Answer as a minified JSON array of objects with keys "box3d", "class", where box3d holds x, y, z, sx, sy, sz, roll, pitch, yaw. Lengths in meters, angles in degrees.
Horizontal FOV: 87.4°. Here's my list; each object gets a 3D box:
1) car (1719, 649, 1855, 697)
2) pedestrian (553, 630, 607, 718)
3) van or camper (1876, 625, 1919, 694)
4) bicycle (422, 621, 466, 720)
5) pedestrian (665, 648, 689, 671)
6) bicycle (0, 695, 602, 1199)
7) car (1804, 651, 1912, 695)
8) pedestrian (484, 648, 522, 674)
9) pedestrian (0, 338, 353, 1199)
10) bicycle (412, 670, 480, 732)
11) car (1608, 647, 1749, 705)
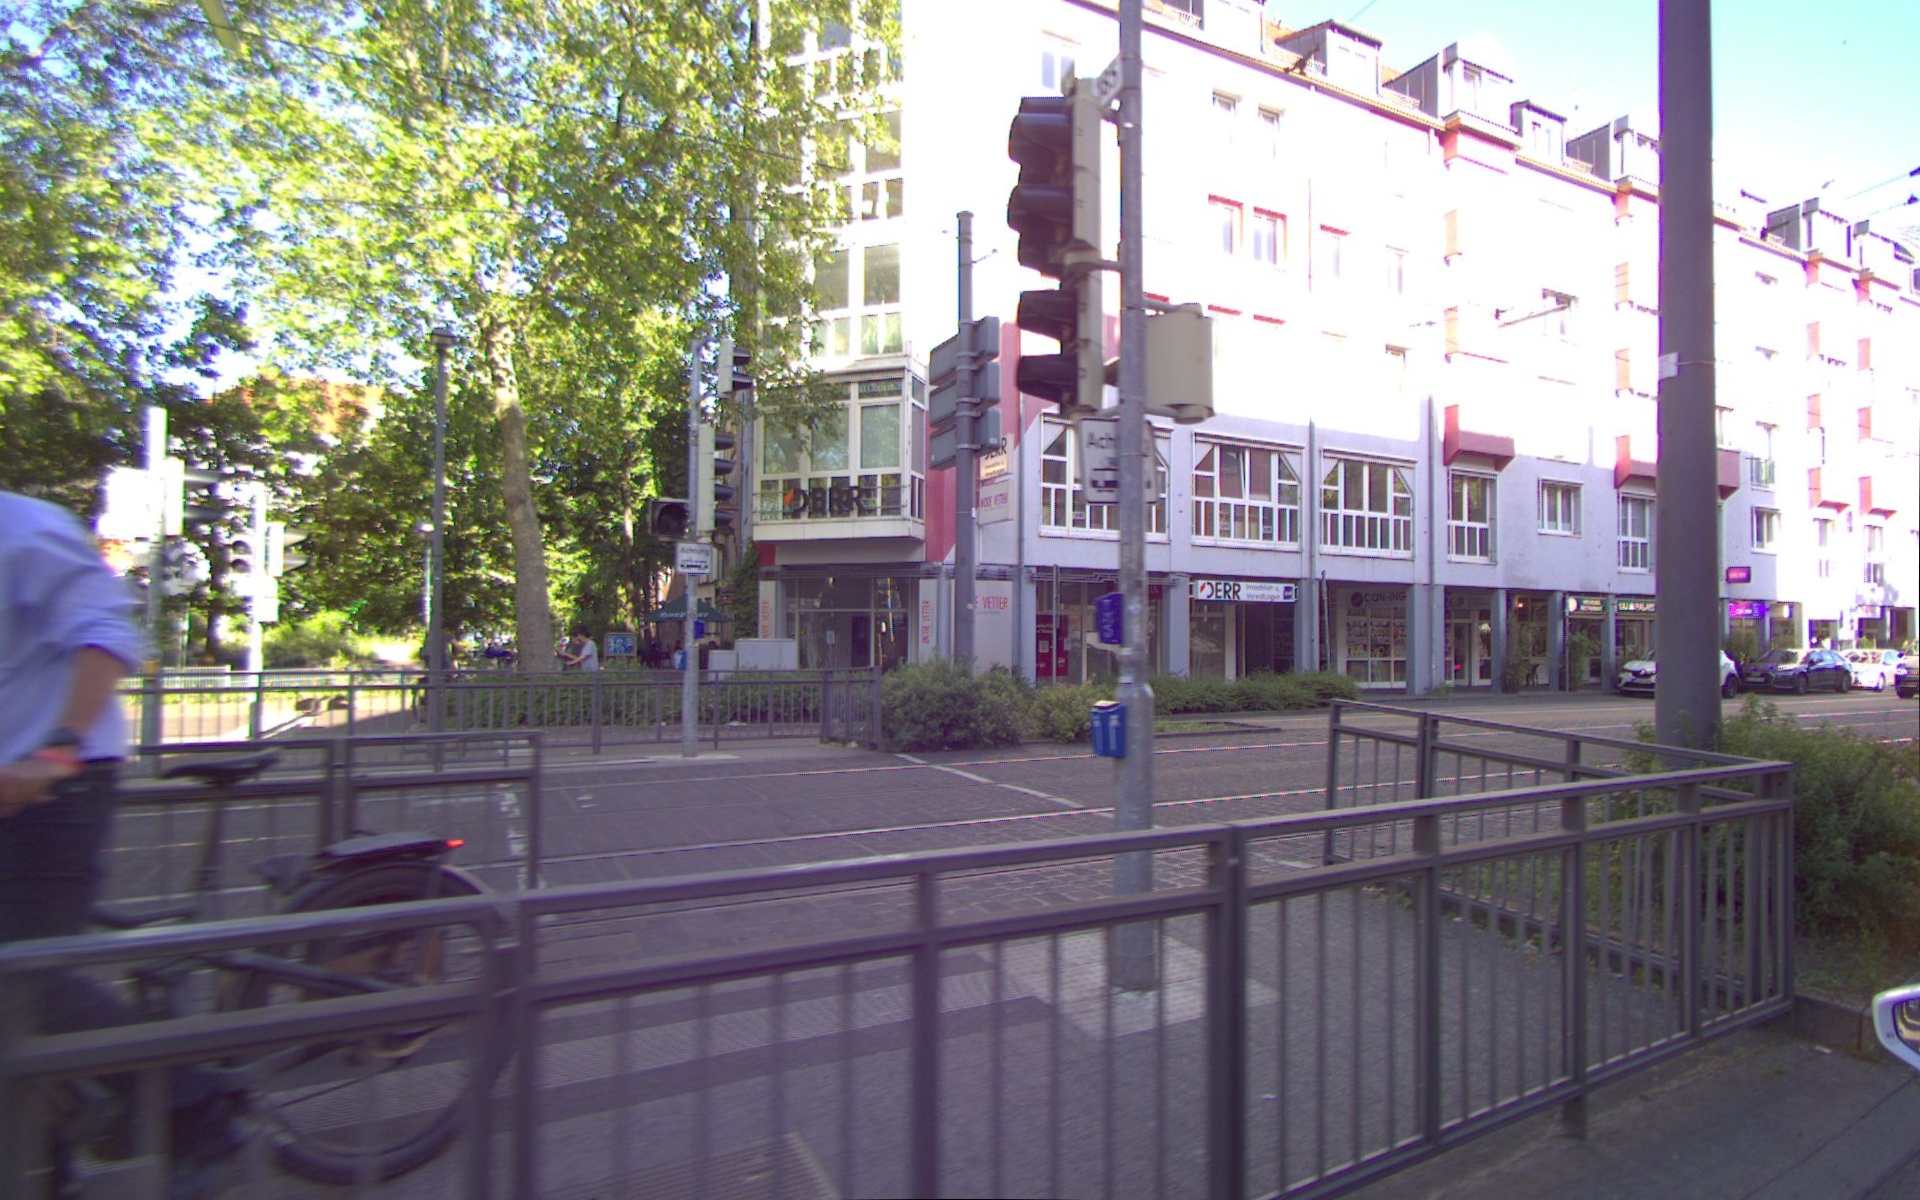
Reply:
[{"box3d":[27.868,2.427,33.811,4.767,1.477,1.894,2,-2,-29],"class":"car"},{"box3d":[-7.355,1.417,19.454,0.678,1.658,0.675,-1,-2,30],"class":"pedestrian"},{"box3d":[29.894,1.775,30.000,4.768,1.965,1.989,2,-5,-25],"class":"van or camper"},{"box3d":[-9.301,1.258,18.109,0.578,1.738,0.641,2,-2,-38],"class":"bicycle"},{"box3d":[-13.024,2.737,46.215,0.826,1.057,0.636,2,-3,-42],"class":"pedestrian"},{"box3d":[-1.747,0.838,2.141,0.588,1.108,1.941,1,-1,29],"class":"bicycle"},{"box3d":[32.459,2.605,36.296,4.159,1.494,1.743,2,-2,-31],"class":"car"},{"box3d":[-18.212,2.431,40.044,1.255,1.007,1.241,2,-3,-30],"class":"pedestrian"},{"box3d":[-1.924,0.462,2.089,0.923,1.846,0.595,1,0,6],"class":"pedestrian"},{"box3d":[-9.288,1.786,18.097,0.642,0.979,2.145,2,-3,-39],"class":"bicycle"},{"box3d":[21.910,2.277,30.596,4.319,1.635,1.908,2,-2,-30],"class":"car"}]
